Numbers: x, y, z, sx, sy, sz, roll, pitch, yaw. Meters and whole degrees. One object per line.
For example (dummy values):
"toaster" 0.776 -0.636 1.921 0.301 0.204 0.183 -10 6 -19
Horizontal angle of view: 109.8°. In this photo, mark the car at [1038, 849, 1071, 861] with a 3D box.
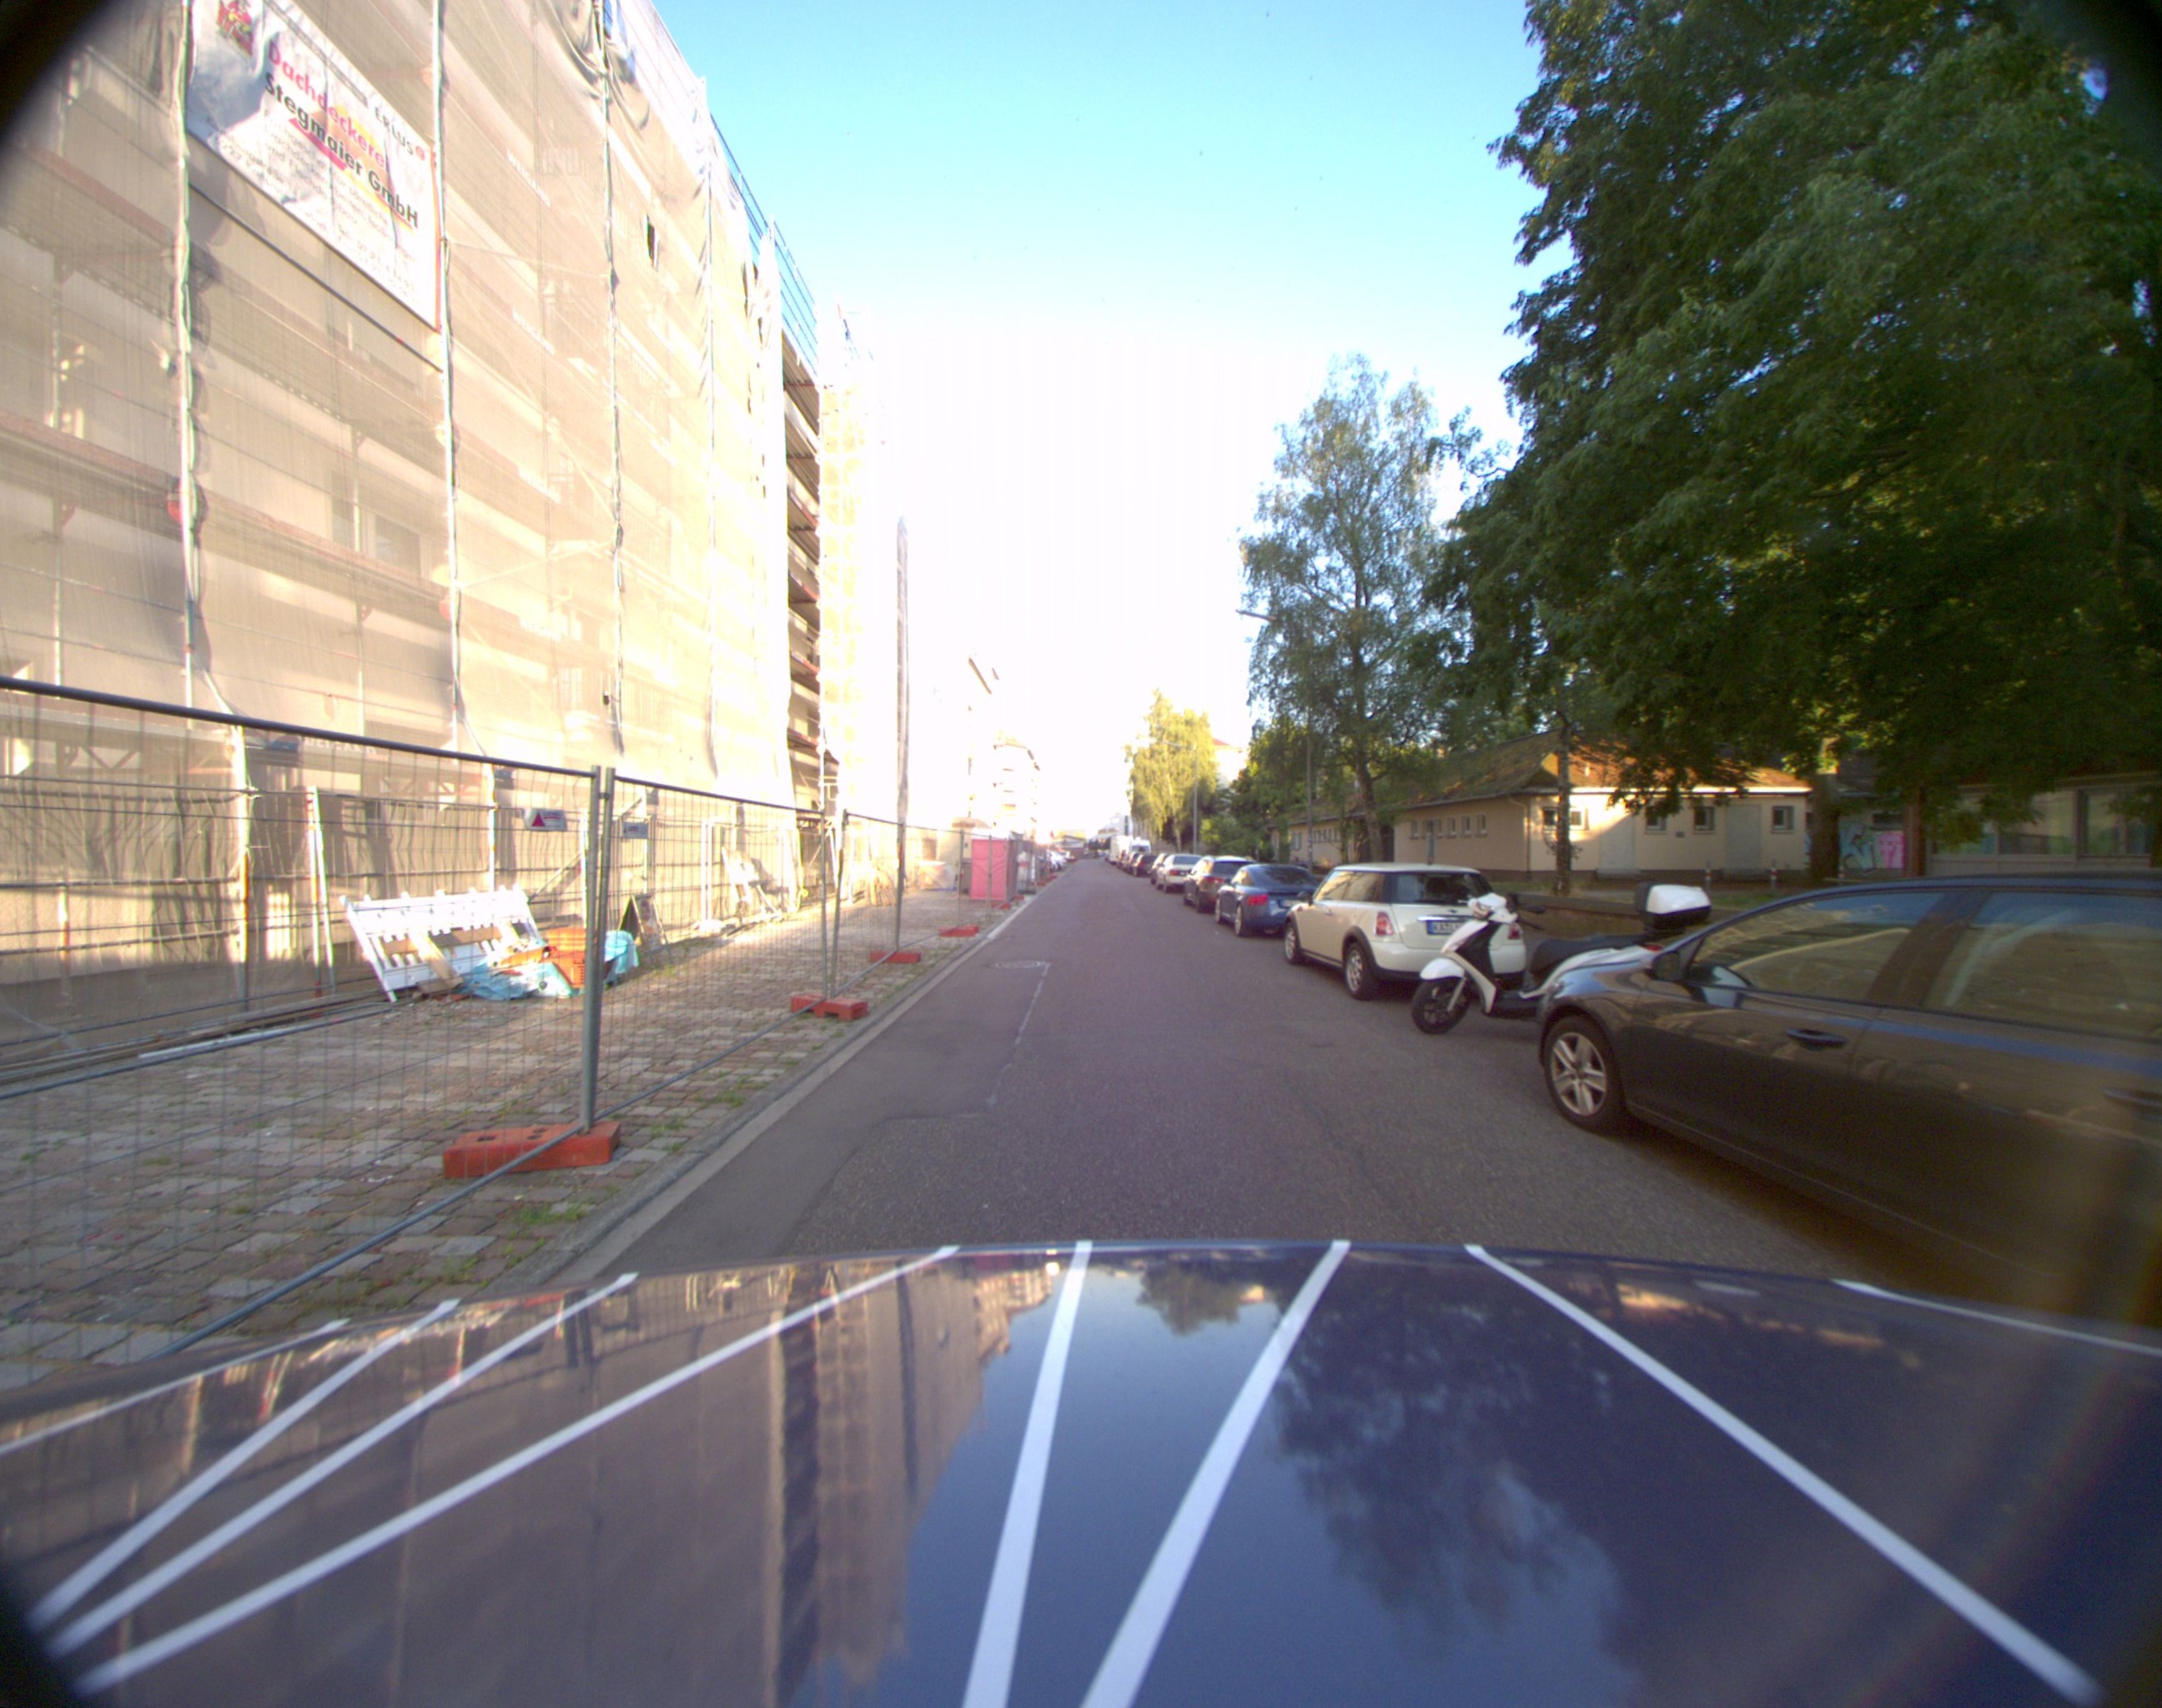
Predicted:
"car" -3.555 0.173 102.055 4.311 1.532 1.923 0 0 2

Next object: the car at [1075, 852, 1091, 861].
"car" 0.319 0.475 128.816 2.000 1.481 4.427 -1 0 -11

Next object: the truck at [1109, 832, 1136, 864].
"truck" 4.629 -0.646 86.478 2.532 3.334 8.016 2 0 0

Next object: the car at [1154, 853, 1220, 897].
"car" 3.891 0.712 28.574 1.787 1.437 4.748 2 1 0

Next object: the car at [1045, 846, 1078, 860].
"car" -2.798 -0.111 109.991 4.685 1.988 2.000 0 1 1

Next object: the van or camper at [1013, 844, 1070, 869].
"van or camper" -3.437 0.204 66.499 4.846 2.084 2.040 0 1 0

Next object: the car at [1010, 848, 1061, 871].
"car" -3.643 0.434 61.134 3.997 1.718 1.999 0 2 -1

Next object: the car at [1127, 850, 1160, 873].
"car" 4.289 0.464 52.643 1.998 1.510 4.789 -1 0 1

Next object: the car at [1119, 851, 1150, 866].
"car" 4.492 0.354 64.135 1.999 1.182 4.034 -1 0 -4

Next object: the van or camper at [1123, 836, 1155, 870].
"van or camper" 4.382 -0.072 58.387 1.998 2.442 6.083 0 0 0

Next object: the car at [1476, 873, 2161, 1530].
"car" 3.482 0.899 2.803 1.720 1.487 4.360 1 1 0

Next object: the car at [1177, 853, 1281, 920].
"car" 3.799 0.757 20.339 1.864 1.529 4.758 1 1 0

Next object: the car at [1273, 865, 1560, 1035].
"car" 3.581 0.918 8.929 1.605 1.423 3.803 2 1 -1

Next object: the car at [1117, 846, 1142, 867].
"car" 4.386 0.226 69.129 1.915 1.777 4.949 1 0 0

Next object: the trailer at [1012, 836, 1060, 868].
"trailer" -3.499 -0.154 59.027 3.577 2.323 1.940 2 1 -2

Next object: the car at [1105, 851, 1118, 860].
"car" 5.189 0.201 130.379 1.999 1.481 4.431 -1 0 -1

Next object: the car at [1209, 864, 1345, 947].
"car" 3.680 0.902 14.976 1.663 1.306 4.154 1 1 1

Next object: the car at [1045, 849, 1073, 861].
"car" -3.075 0.094 107.091 3.998 1.619 1.784 0 0 -2

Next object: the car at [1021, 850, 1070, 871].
"car" -2.947 0.523 63.766 3.997 1.630 1.999 0 1 -1

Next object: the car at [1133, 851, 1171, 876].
"car" 4.264 0.545 46.265 1.998 1.444 4.288 -1 0 1

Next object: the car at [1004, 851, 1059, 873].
"car" -3.673 0.578 56.511 3.998 1.628 1.903 0 1 -2

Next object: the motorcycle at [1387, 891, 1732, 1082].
"motorcycle" 3.668 0.982 6.076 2.167 1.296 0.881 -1 1 15

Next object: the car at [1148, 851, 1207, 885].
"car" 4.258 0.580 34.238 1.999 1.444 3.999 -1 0 -2

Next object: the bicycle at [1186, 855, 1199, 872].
"bicycle" 7.550 0.617 51.393 0.544 1.111 1.955 -1 0 -1

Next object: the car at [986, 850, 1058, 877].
"car" -3.575 0.547 46.513 4.163 1.606 1.872 0 1 2
